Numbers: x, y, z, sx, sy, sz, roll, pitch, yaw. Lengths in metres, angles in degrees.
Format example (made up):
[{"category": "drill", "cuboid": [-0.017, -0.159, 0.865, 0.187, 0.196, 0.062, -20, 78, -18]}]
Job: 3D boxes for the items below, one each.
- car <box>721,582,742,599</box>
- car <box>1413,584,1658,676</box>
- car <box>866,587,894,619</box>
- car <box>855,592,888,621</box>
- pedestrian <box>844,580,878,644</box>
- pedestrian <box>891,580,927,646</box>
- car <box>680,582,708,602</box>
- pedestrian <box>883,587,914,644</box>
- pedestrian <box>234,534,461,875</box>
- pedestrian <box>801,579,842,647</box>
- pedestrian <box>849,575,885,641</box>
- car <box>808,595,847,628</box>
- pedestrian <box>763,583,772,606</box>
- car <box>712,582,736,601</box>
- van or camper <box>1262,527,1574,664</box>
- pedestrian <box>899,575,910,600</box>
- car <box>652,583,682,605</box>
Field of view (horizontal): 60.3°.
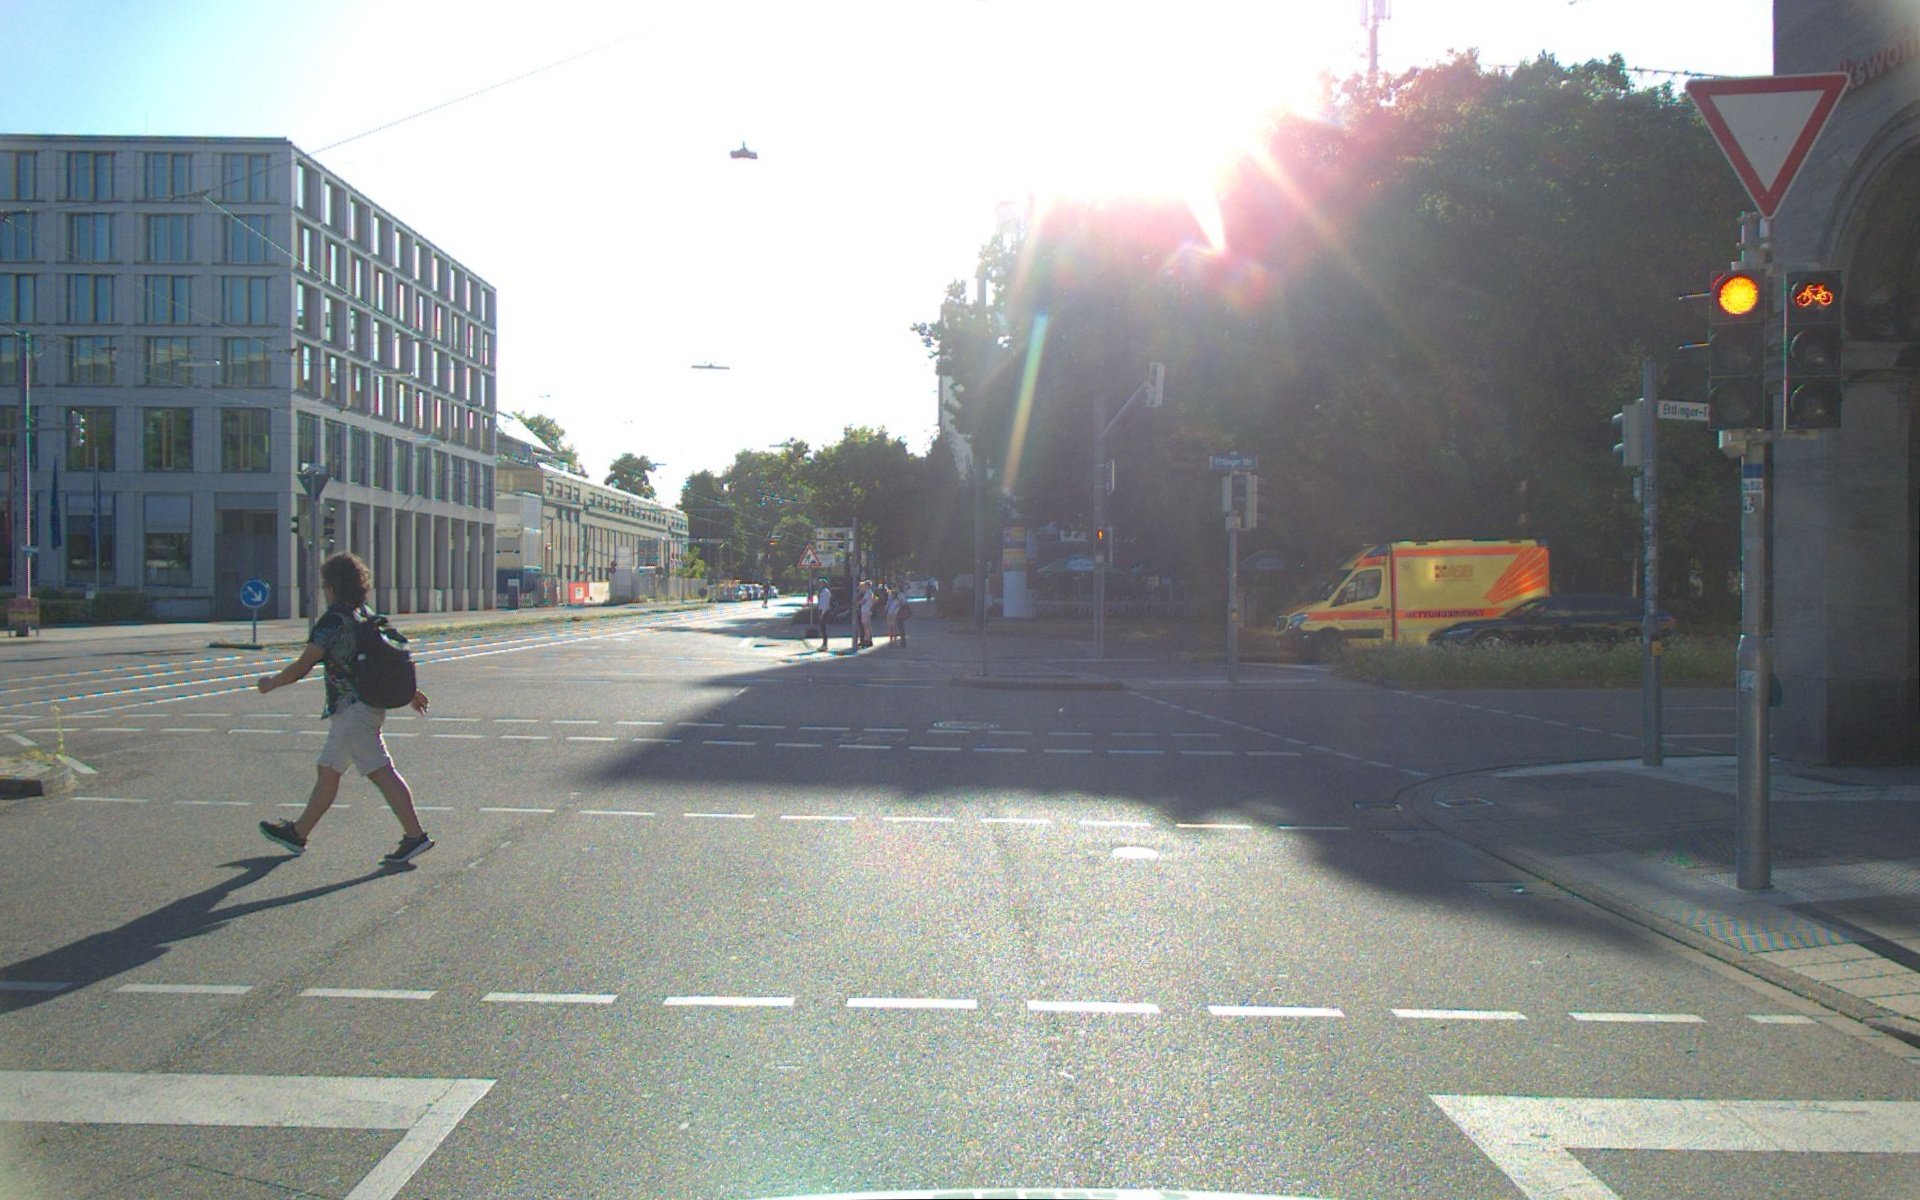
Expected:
[{"category": "car", "cuboid": [-22.096, -0.914, 159.797, 1.577, 1.525, 3.805, 0, 0, -1]}, {"category": "car", "cuboid": [11.453, 0.595, 33.105, 4.226, 1.676, 1.887, 2, -1, -1]}, {"category": "car", "cuboid": [-5.181, 0.193, 107.532, 1.650, 1.996, 3.508, 2, -1, -1]}, {"category": "car", "cuboid": [-4.916, 0.369, 91.921, 1.650, 1.527, 3.508, 2, -1, -1]}, {"category": "pedestrian", "cuboid": [-2.831, 0.328, 47.233, 0.834, 1.815, 0.776, 0, 0, -17]}, {"category": "pedestrian", "cuboid": [-1.416, 0.368, 45.977, 0.834, 1.815, 0.776, 0, 0, -17]}, {"category": "car", "cuboid": [-23.118, -0.695, 143.836, 1.782, 1.742, 3.805, 0, 0, -1]}, {"category": "pedestrian", "cuboid": [-1.731, 0.436, 46.640, 0.750, 1.586, 0.585, 0, 0, -17]}, {"category": "pedestrian", "cuboid": [-3.334, 0.534, 9.115, 1.021, 1.751, 1.032, 0, 0, -12]}, {"category": "pedestrian", "cuboid": [-3.762, 0.341, 44.851, 0.950, 1.815, 0.776, 0, 0, -17]}, {"category": "pedestrian", "cuboid": [-2.612, 0.221, 46.420, 0.834, 1.815, 0.776, 0, 0, -17]}, {"category": "car", "cuboid": [-6.516, 0.587, 81.734, 1.650, 1.527, 3.508, 2, -1, -1]}, {"category": "pedestrian", "cuboid": [-12.886, -0.342, 110.783, 0.513, 1.510, 0.437, 2, -1, -2]}, {"category": "car", "cuboid": [-22.204, -0.763, 155.532, 1.782, 1.742, 3.805, 0, 0, -1]}, {"category": "van or camper", "cuboid": [10.601, -0.090, 38.833, 6.568, 2.912, 2.912, 2, -1, 3]}, {"category": "pedestrian", "cuboid": [-8.233, -1.897, 245.515, 1.373, 3.660, 1.567, 2, -1, -1]}, {"category": "car", "cuboid": [-23.529, -0.449, 133.098, 1.782, 1.742, 3.805, 0, 0, -1]}]
